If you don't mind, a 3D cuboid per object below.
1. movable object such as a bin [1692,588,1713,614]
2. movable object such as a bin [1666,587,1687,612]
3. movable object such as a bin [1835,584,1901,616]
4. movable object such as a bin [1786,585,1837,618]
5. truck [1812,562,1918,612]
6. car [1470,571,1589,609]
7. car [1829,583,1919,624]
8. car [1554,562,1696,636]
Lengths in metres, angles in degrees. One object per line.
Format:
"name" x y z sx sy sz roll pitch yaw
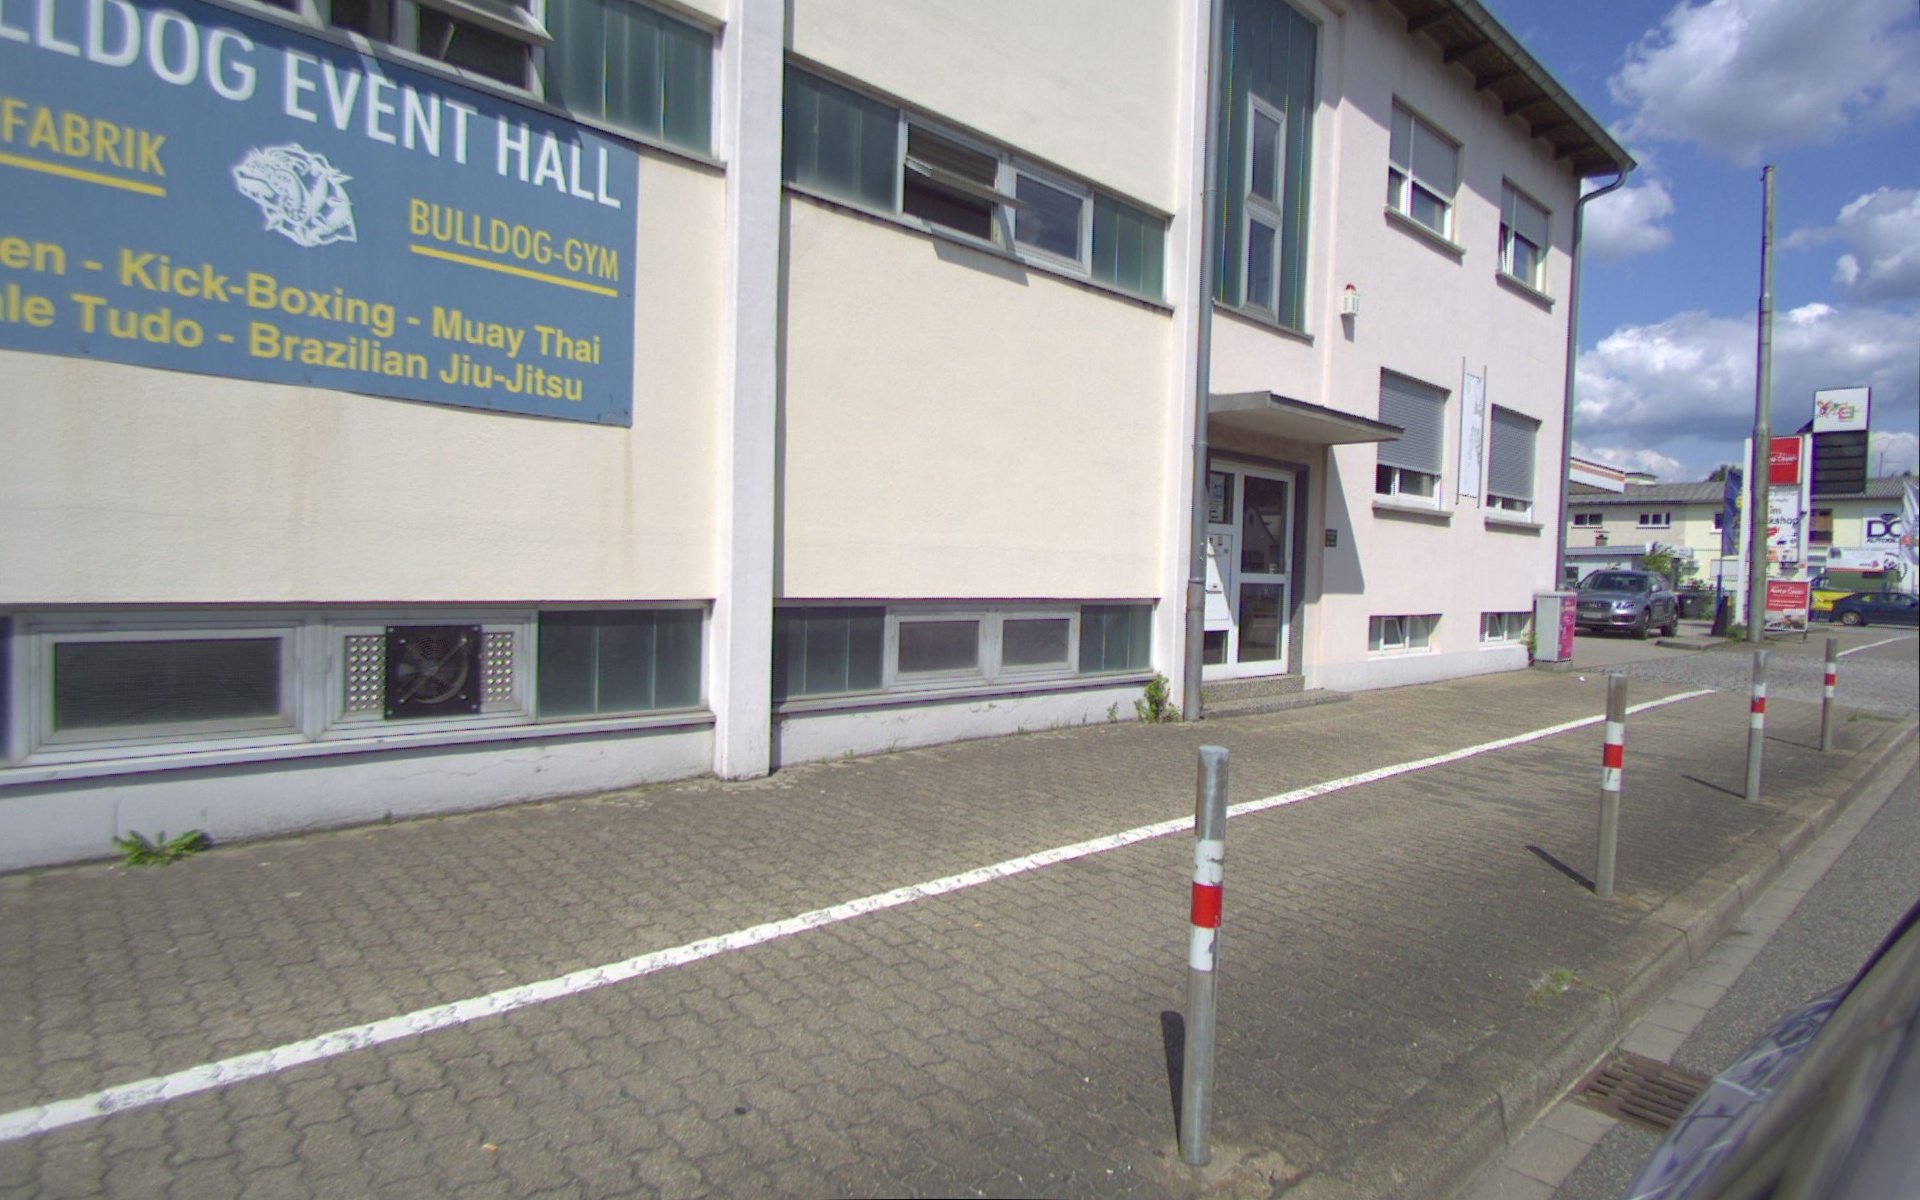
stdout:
"movable object such as a bin" 29.919 0.033 40.786 0.695 1.023 0.581 -1 1 -43
"movable object such as a bin" 29.368 -0.032 41.461 0.695 1.023 0.581 -1 1 -43
"movable object such as a bin" 39.341 -0.020 43.844 1.679 1.364 1.965 -1 1 -42
"movable object such as a bin" 38.021 0.038 45.194 1.735 1.427 1.534 -1 1 -42
"truck" 50.419 -0.760 56.447 2.071 2.693 4.179 -1 1 -40
"car" 24.626 -0.467 43.871 1.740 1.441 4.145 -1 4 -40
"car" 35.626 0.124 38.137 1.616 1.425 4.067 -1 3 -35
"car" 16.712 -0.079 25.349 4.539 1.645 1.948 -1 3 -44
